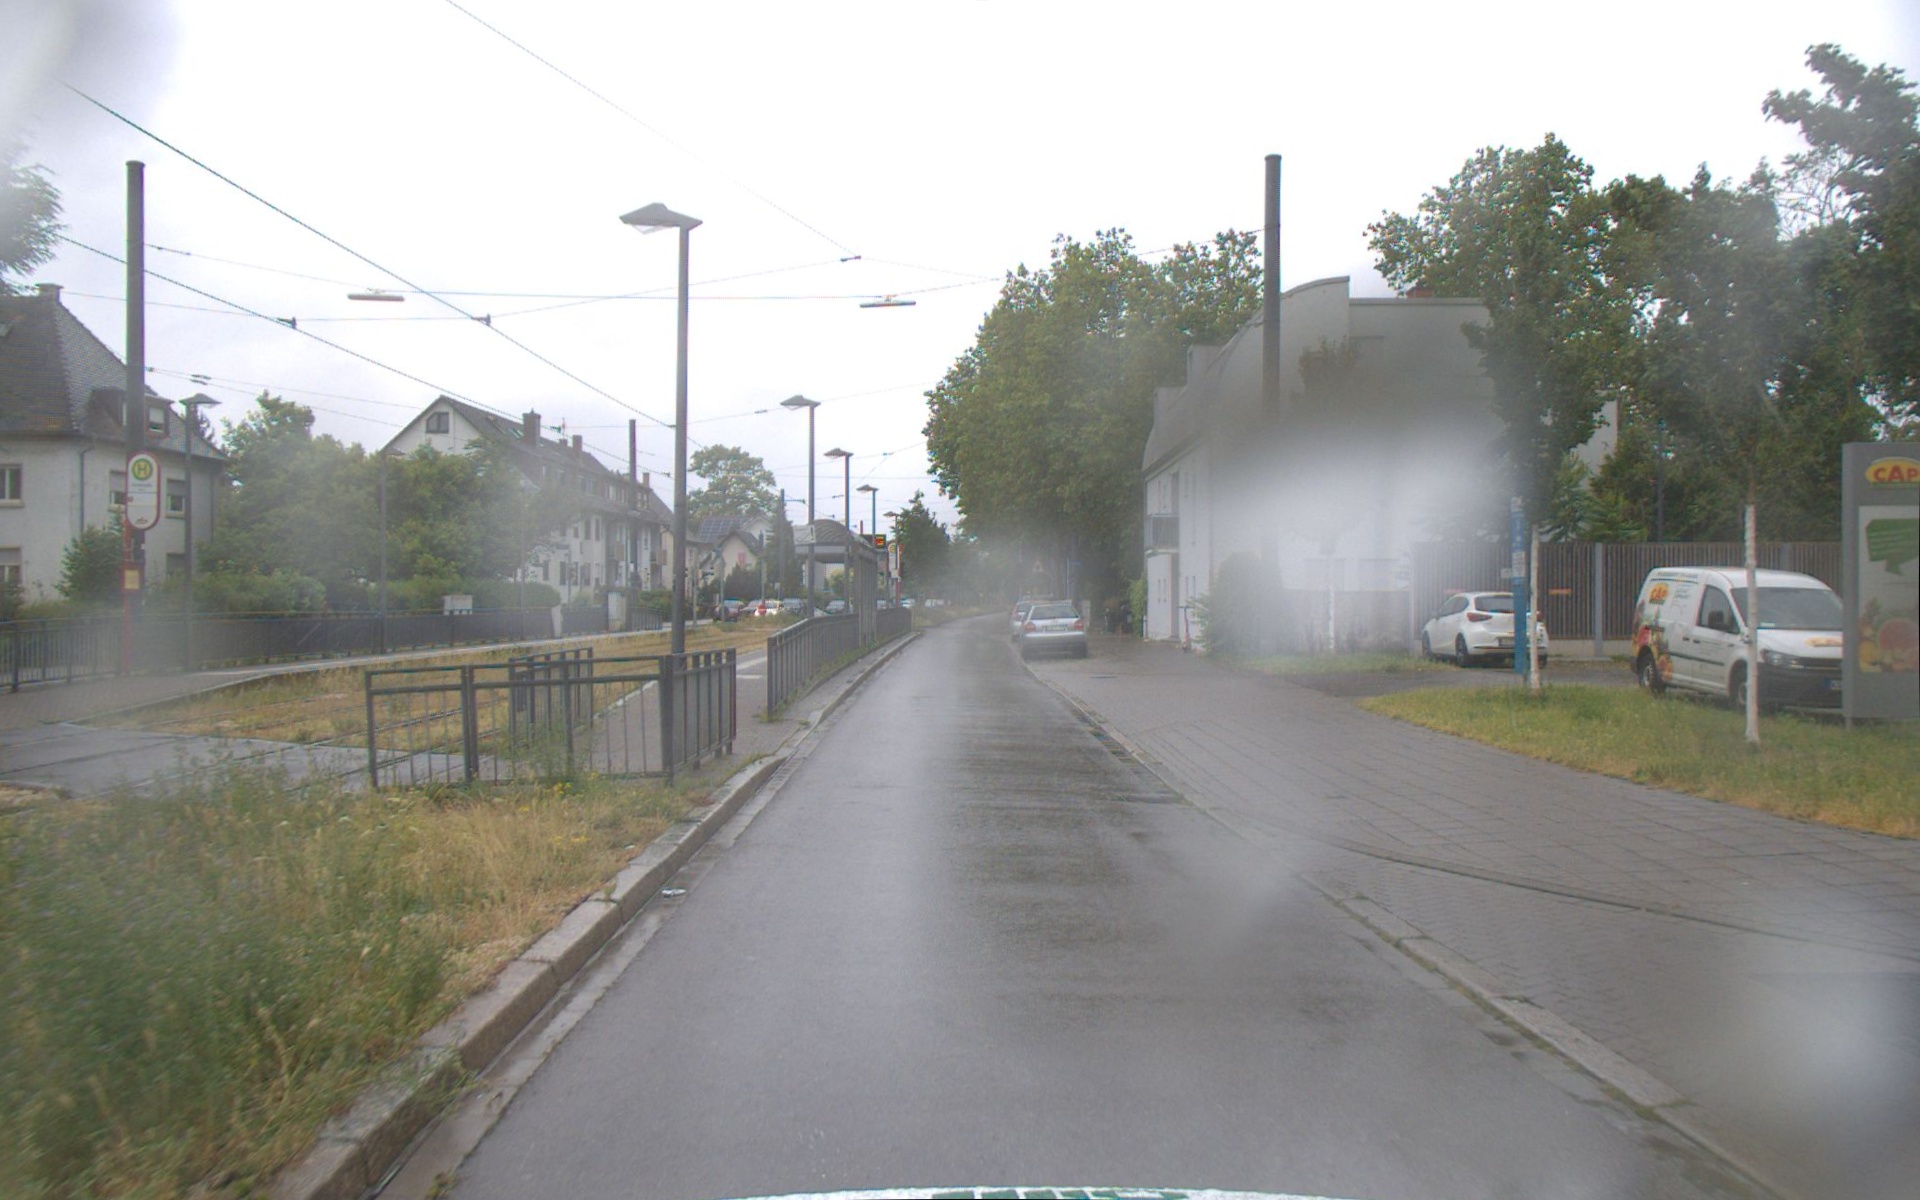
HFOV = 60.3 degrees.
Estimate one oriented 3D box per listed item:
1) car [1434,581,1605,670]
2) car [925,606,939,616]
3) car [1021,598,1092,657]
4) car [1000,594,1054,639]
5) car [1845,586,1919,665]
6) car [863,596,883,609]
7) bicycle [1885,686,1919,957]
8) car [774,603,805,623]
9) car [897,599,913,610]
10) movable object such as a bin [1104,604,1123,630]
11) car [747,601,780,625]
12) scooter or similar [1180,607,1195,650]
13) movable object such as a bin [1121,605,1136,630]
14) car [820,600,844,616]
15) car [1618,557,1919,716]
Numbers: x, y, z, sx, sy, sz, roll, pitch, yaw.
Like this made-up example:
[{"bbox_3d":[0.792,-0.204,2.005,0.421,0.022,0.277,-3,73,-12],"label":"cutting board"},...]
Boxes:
[{"bbox_3d":[10.711,0.432,31.996,1.922,1.561,4.365,1,1,2],"label":"car"},{"bbox_3d":[-4.485,1.747,261.520,1.888,1.512,4.001,1,-1,3],"label":"car"},{"bbox_3d":[2.554,0.733,44.485,1.616,1.430,4.649,-3,-1,1],"label":"car"},{"bbox_3d":[2.405,0.612,60.228,1.770,1.493,3.794,-3,-1,1],"label":"car"},{"bbox_3d":[20.055,0.525,33.595,1.922,1.561,4.365,1,1,2],"label":"car"},{"bbox_3d":[-10.428,0.321,198.027,1.888,1.512,4.001,1,-1,3],"label":"car"},{"bbox_3d":[4.334,0.921,6.137,0.526,1.112,1.945,1,-1,-7],"label":"bicycle"},{"bbox_3d":[-13.765,1.070,133.670,1.888,1.512,4.001,1,-1,3],"label":"car"},{"bbox_3d":[-7.709,0.595,231.797,1.888,1.512,4.001,1,-1,3],"label":"car"},{"bbox_3d":[6.470,0.717,69.931,0.678,1.040,0.824,-2,-1,0],"label":"movable object such as a bin"},{"bbox_3d":[-12.931,0.868,109.198,1.599,1.519,4.000,1,-1,1],"label":"car"},{"bbox_3d":[5.961,0.738,43.340,0.326,1.104,1.396,1,-1,5],"label":"scooter or similar"},{"bbox_3d":[7.064,0.723,69.246,0.525,1.040,0.738,-2,-1,0],"label":"movable object such as a bin"},{"bbox_3d":[-12.599,0.831,163.048,1.888,1.512,4.001,1,-1,3],"label":"car"},{"bbox_3d":[10.516,0.395,21.691,1.922,1.815,4.898,1,1,1],"label":"car"}]
